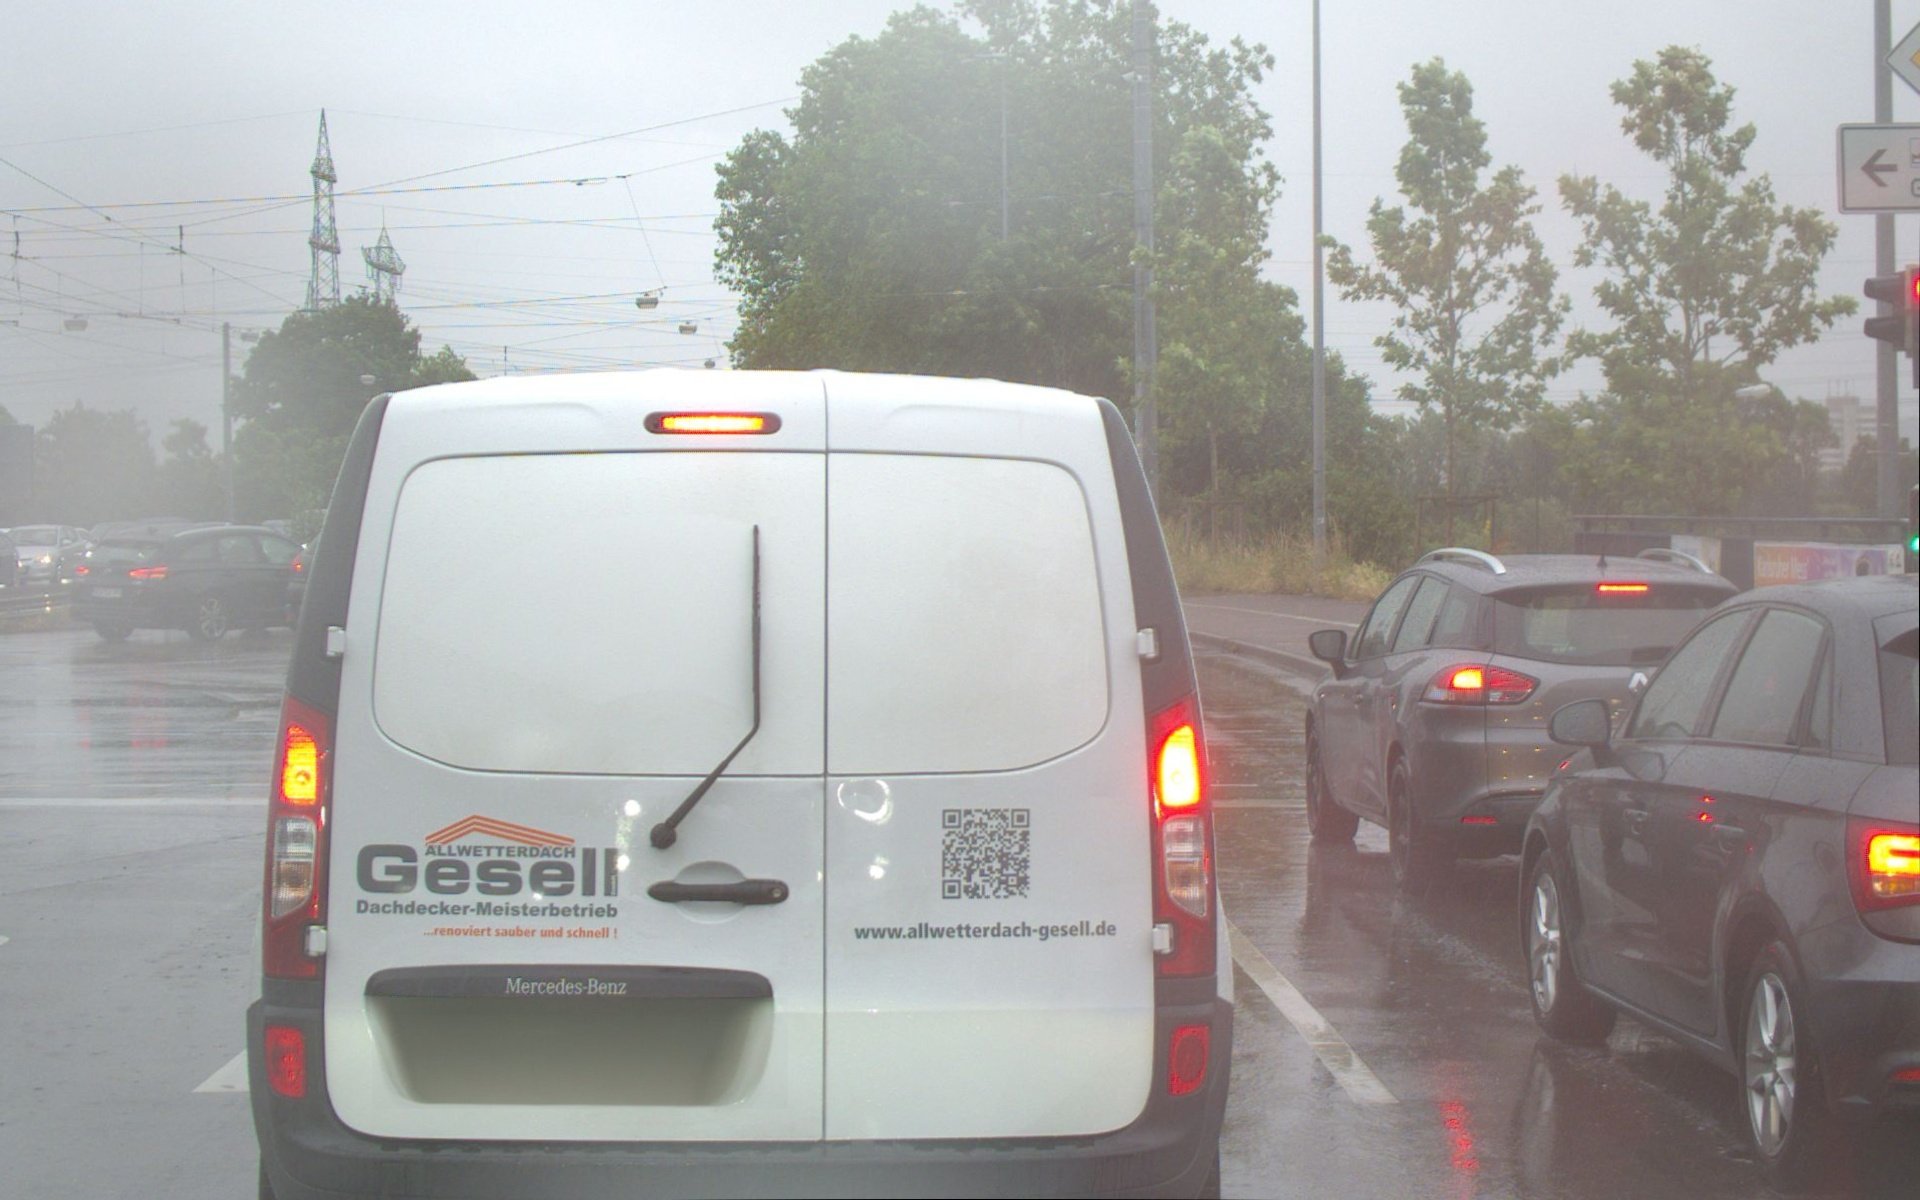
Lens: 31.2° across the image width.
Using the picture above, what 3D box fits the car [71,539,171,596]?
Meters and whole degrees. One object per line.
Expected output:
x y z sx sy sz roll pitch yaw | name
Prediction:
-22.240 -0.858 91.228 1.710 1.421 3.809 2 0 -1 | car

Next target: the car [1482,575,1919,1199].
2.520 0.627 8.943 1.597 1.362 3.631 -1 0 -3 | car

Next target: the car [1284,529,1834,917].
2.555 0.460 15.554 1.684 1.503 3.921 1 1 -1 | car

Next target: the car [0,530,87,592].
-22.549 -0.943 83.886 1.559 1.421 3.569 2 0 -1 | car

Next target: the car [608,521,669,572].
-11.096 -1.837 118.897 1.947 1.656 4.465 2 0 -4 | car

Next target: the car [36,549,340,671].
-9.785 0.145 43.757 1.649 1.393 3.446 4 1 38 | car

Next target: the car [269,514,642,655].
-5.701 -0.164 39.090 3.913 1.393 1.535 3 1 -40 | car

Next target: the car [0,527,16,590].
-22.530 -0.966 77.398 1.559 1.421 3.569 2 0 -1 | car

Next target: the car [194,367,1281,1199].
-0.505 0.440 7.683 1.754 1.744 4.170 1 2 -4 | car
